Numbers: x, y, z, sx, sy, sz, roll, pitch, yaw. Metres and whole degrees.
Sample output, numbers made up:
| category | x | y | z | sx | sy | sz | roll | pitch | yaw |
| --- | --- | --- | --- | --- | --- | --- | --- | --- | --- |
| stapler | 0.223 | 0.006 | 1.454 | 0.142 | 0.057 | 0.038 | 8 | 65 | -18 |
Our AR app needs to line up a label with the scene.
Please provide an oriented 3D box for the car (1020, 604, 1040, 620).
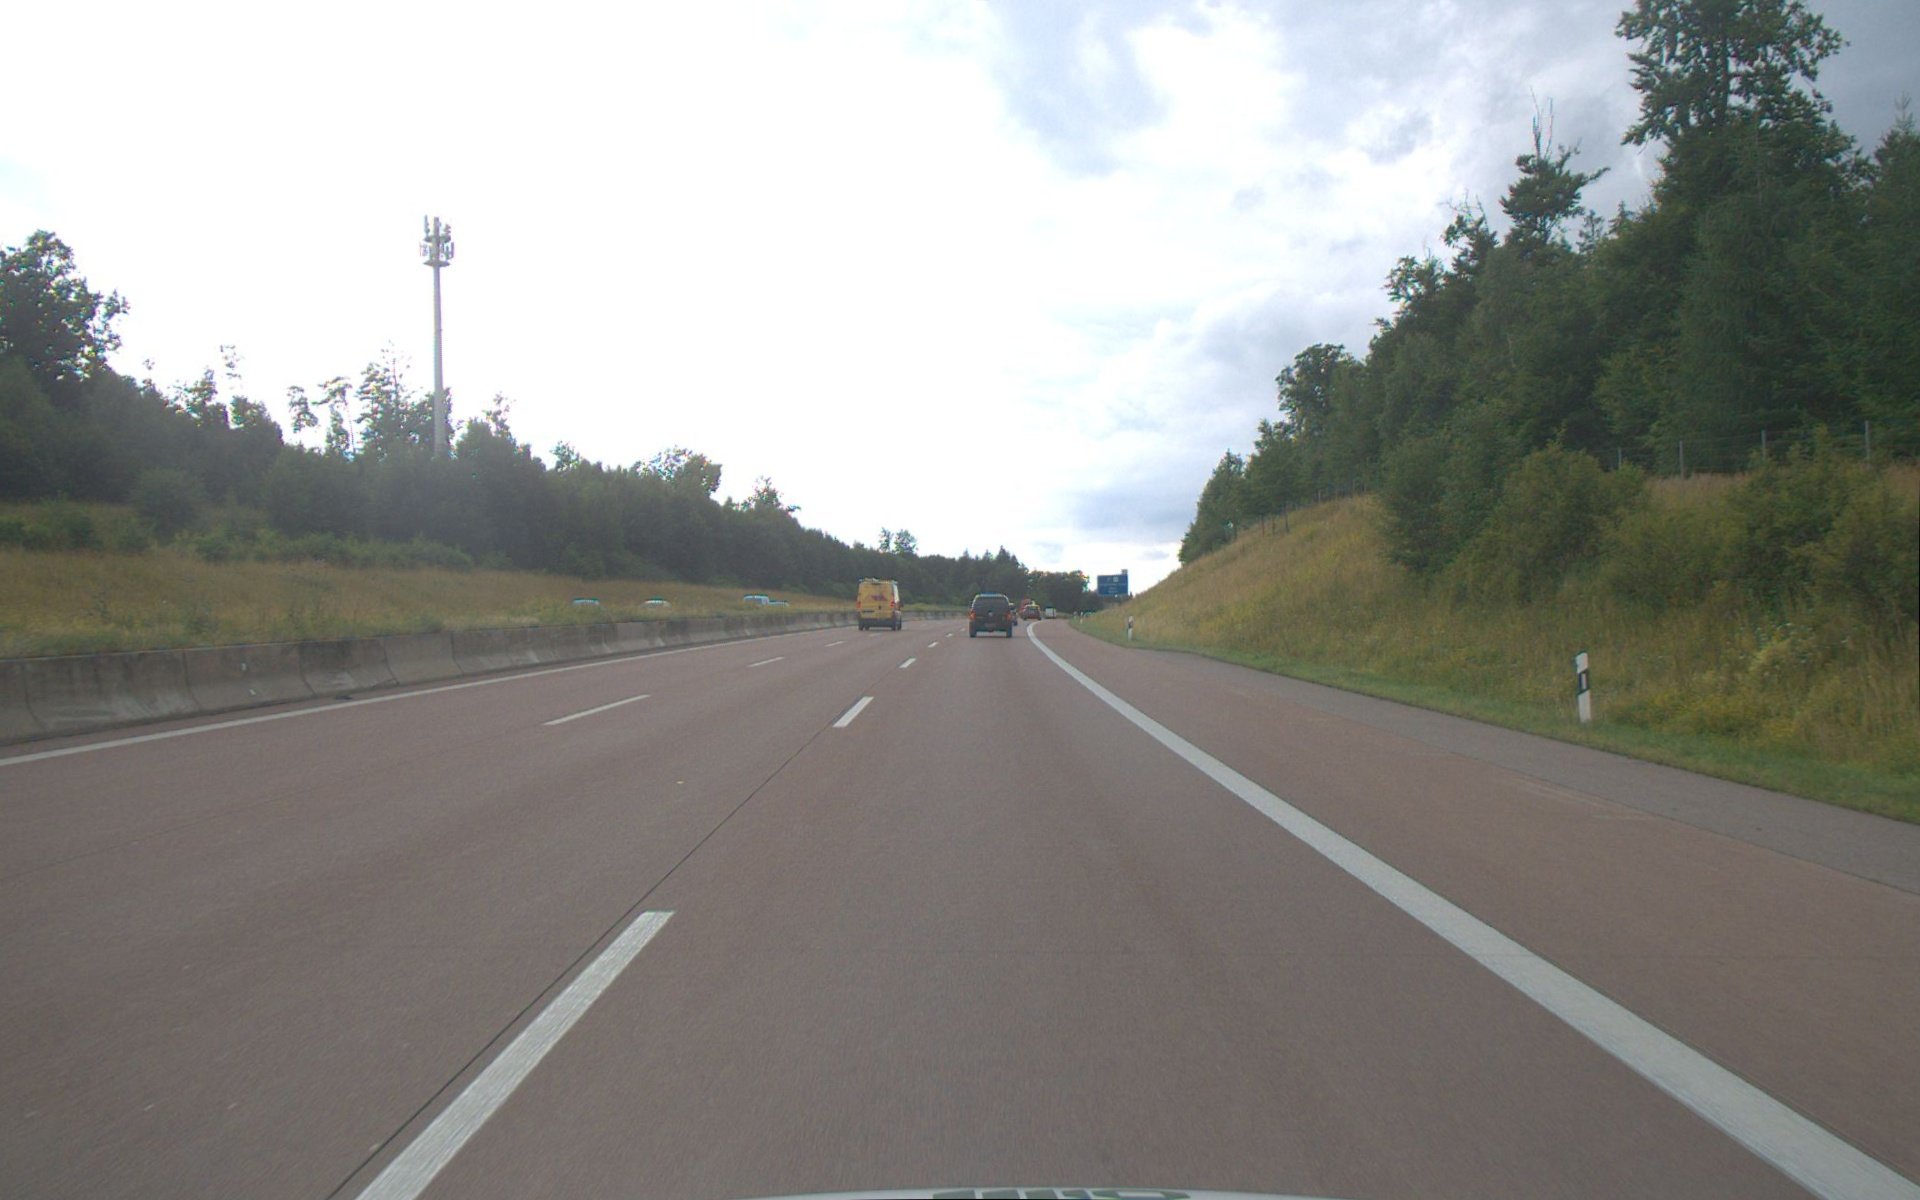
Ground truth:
| category | x | y | z | sx | sy | sz | roll | pitch | yaw |
| --- | --- | --- | --- | --- | --- | --- | --- | --- | --- |
| car | 7.597 | 1.294 | 180.757 | 1.937 | 1.677 | 4.618 | -1 | -2 | 0 |

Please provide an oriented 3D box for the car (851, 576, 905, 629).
| category | x | y | z | sx | sy | sz | roll | pitch | yaw |
| --- | --- | --- | --- | --- | --- | --- | --- | --- | --- |
| car | -4.399 | 0.189 | 89.768 | 2.407 | 2.754 | 5.615 | -1 | -2 | 3 |

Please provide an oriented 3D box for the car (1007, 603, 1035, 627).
| category | x | y | z | sx | sy | sz | roll | pitch | yaw |
| --- | --- | --- | --- | --- | --- | --- | --- | --- | --- |
| car | 4.385 | 1.126 | 119.696 | 1.936 | 1.677 | 4.619 | 1 | -1 | 2 |

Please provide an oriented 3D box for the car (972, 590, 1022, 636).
| category | x | y | z | sx | sy | sz | roll | pitch | yaw |
| --- | --- | --- | --- | --- | --- | --- | --- | --- | --- |
| car | 1.600 | 0.623 | 73.227 | 2.002 | 1.930 | 5.575 | -1 | -2 | -1 |
